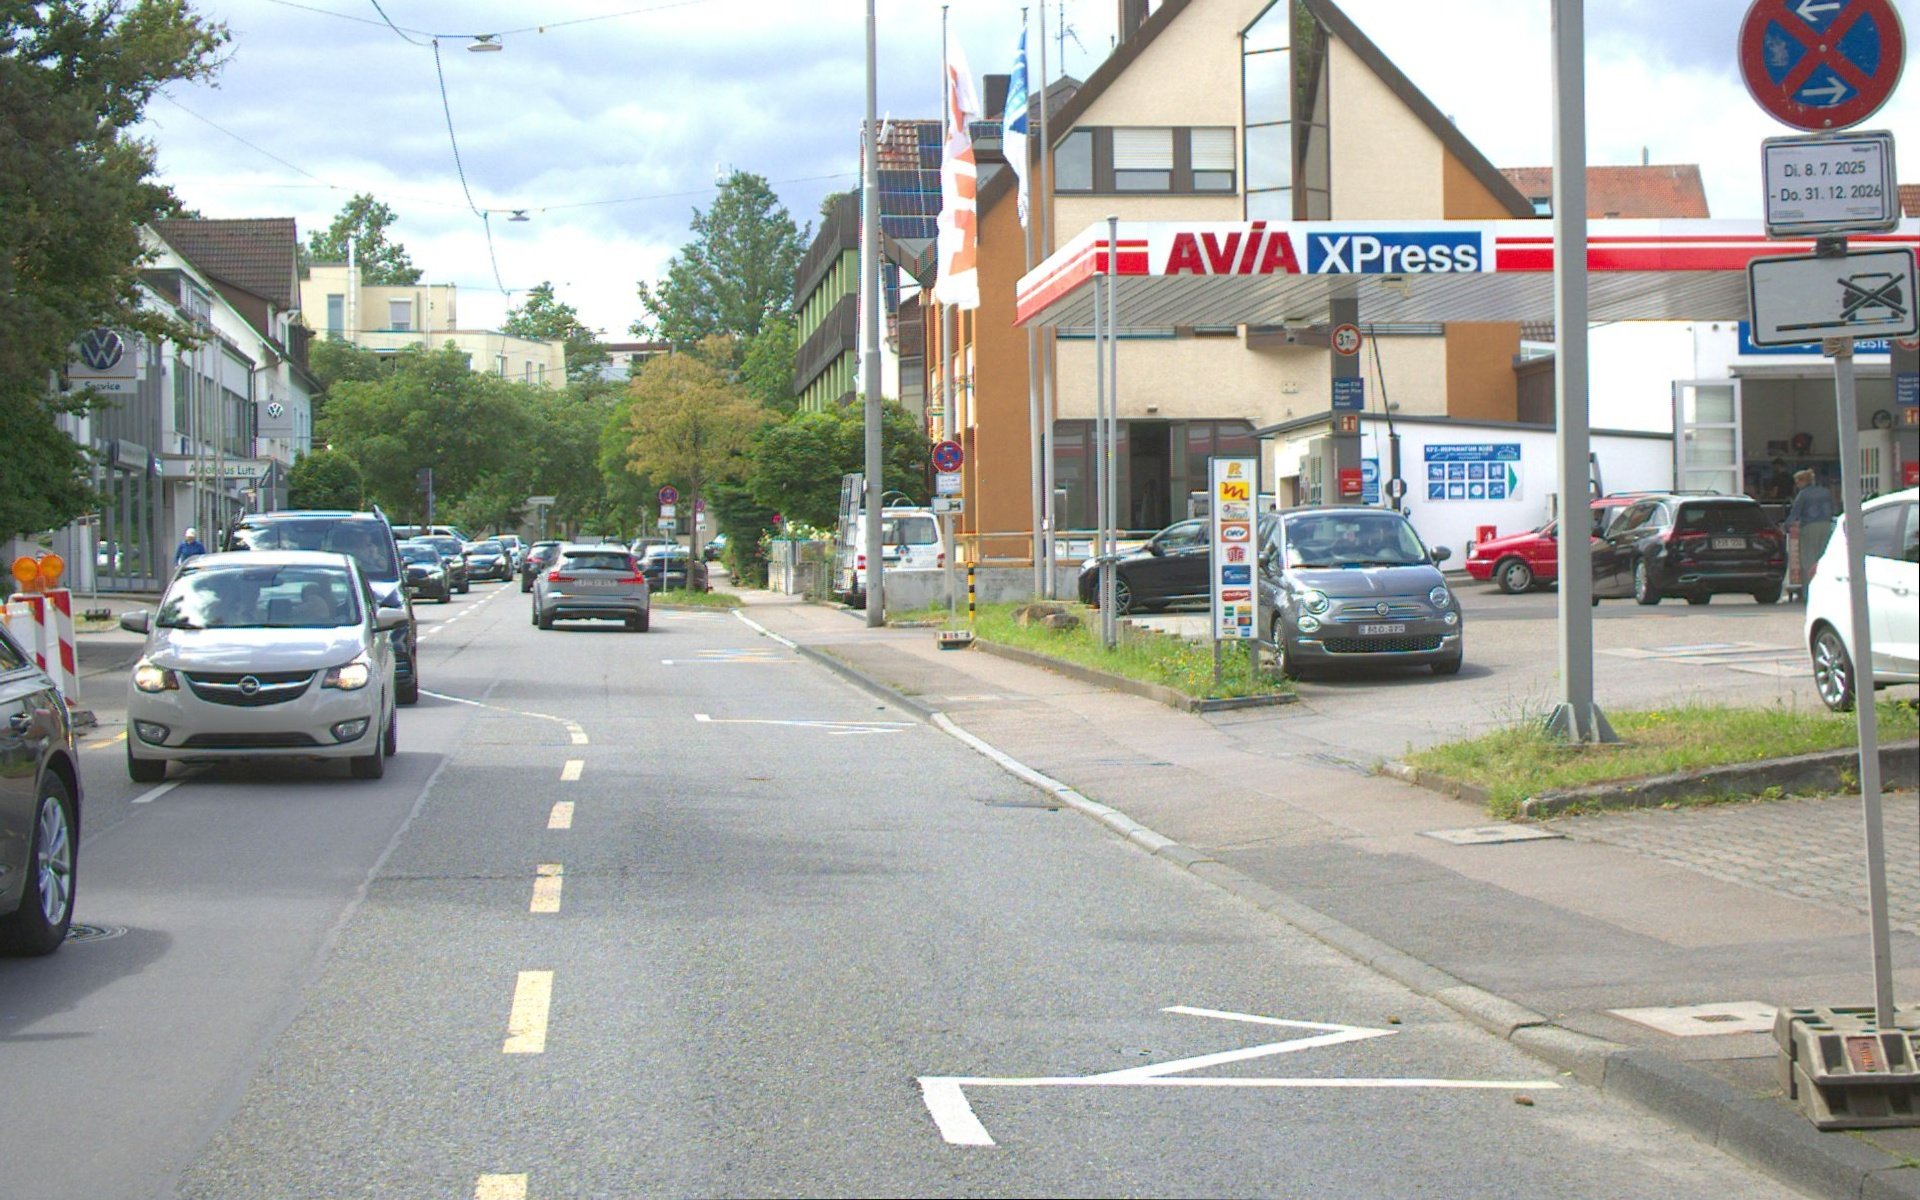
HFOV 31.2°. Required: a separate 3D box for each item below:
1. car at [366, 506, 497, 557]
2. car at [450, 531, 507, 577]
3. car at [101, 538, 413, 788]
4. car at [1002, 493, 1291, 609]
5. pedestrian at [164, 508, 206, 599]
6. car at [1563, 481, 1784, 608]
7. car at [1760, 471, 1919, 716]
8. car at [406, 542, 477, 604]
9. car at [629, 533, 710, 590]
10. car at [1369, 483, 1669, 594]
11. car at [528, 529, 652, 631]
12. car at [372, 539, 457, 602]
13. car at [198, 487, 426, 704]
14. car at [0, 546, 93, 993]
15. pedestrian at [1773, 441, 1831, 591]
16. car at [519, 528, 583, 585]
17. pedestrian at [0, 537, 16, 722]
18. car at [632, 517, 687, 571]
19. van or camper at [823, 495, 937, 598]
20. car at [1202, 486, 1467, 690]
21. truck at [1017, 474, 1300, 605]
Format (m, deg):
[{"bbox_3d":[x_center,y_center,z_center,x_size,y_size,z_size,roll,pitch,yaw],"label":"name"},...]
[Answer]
[{"bbox_3d":[-23.293,-3.025,151.613,5.215,1.986,2.107,-2,1,13],"label":"car"},{"bbox_3d":[-16.345,-1.553,116.693,1.830,1.518,4.172,-1,1,-9],"label":"car"},{"bbox_3d":[-4.609,0.371,22.958,1.614,1.518,3.570,-1,1,-5],"label":"car"},{"bbox_3d":[3.005,-0.785,55.697,4.312,1.625,1.633,-2,2,29],"label":"car"},{"bbox_3d":[-14.900,-0.883,66.114,0.682,1.731,0.868,1,0,-7],"label":"pedestrian"},{"bbox_3d":[9.398,-0.705,45.648,1.630,1.603,4.572,0,0,-5],"label":"car"},{"bbox_3d":[6.691,-0.101,21.677,1.634,1.523,4.205,-5,1,-9],"label":"car"},{"bbox_3d":[-14.648,-0.783,97.214,1.831,1.624,4.322,-1,2,-7],"label":"car"},{"bbox_3d":[-7.649,-1.007,90.339,1.984,1.443,4.752,-1,1,-6],"label":"car"},{"bbox_3d":[8.948,-0.971,54.937,4.596,1.711,1.824,1,0,14],"label":"car"},{"bbox_3d":[-6.442,-0.314,59.529,1.955,1.518,4.329,0,-3,-8],"label":"car"},{"bbox_3d":[-13.199,-0.735,83.315,1.740,1.424,4.525,-2,1,-6],"label":"car"},{"bbox_3d":[-6.427,-0.106,33.720,1.908,1.945,4.915,-1,2,-14],"label":"car"},{"bbox_3d":[-4.144,0.595,10.914,1.819,1.518,4.561,-1,1,-3],"label":"car"},{"bbox_3d":[10.905,-1.081,44.528,0.586,1.929,0.539,1,0,31],"label":"pedestrian"},{"bbox_3d":[-11.367,-1.202,95.411,1.614,1.518,3.570,-1,1,-9],"label":"car"},{"bbox_3d":[-8.574,0.248,29.736,0.571,1.596,0.536,1,0,38],"label":"pedestrian"},{"bbox_3d":[-9.576,-1.778,109.763,1.689,1.661,4.463,-1,1,-4],"label":"car"},{"bbox_3d":[-1.687,-1.082,70.778,1.866,2.025,4.548,1,0,-7],"label":"van or camper"},{"bbox_3d":[3.388,-0.138,31.801,1.615,1.590,4.160,-6,1,-3],"label":"car"},{"bbox_3d":[3.759,-1.185,65.859,5.086,2.449,2.358,0,2,-6],"label":"truck"}]
